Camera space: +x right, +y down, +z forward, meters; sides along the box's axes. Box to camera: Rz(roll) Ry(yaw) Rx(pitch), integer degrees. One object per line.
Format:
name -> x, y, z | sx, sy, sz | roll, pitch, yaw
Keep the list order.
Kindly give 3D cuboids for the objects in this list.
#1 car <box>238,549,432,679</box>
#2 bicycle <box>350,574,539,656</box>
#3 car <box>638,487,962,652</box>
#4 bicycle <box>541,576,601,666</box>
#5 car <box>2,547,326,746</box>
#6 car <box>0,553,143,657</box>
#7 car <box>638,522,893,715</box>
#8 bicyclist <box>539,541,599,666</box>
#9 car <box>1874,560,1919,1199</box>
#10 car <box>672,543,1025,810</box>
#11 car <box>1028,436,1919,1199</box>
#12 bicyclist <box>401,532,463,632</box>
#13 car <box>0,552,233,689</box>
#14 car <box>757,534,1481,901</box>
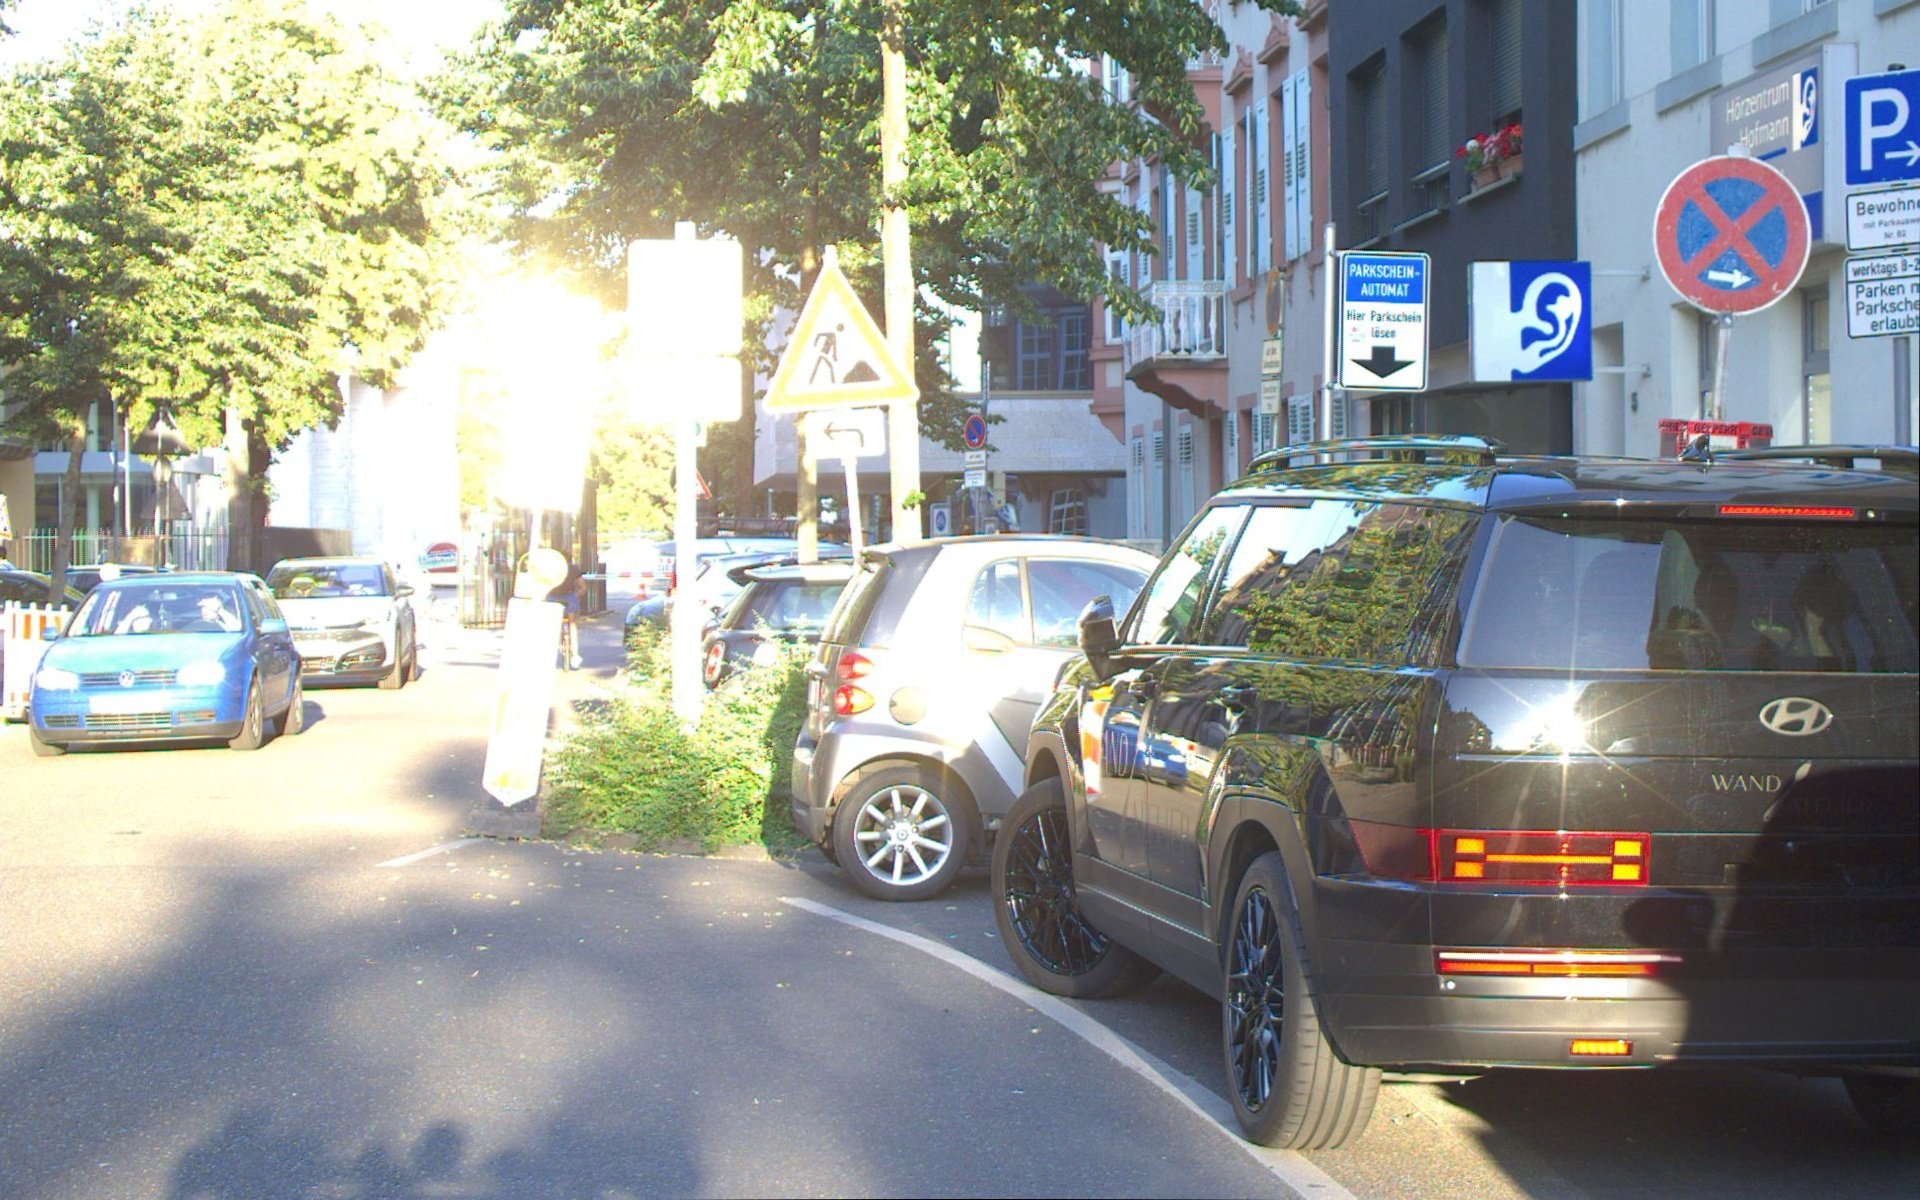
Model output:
car -> -7.569, 0.144, 41.978 | 1.884, 1.475, 4.460 | 1, 0, -5
bicycle -> -8.881, 0.252, 59.178 | 3.176, 1.346, 0.847 | -1, 1, -10
car -> -1.978, -0.397, 43.421 | 3.987, 2.007, 2.000 | -1, 1, 0
bicycle -> -5.420, 0.275, 47.817 | 0.780, 1.200, 2.021 | -1, 1, -7
car -> -6.373, 0.379, 27.962 | 1.838, 1.436, 4.332 | -2, -1, -4
car -> -14.098, 0.048, 49.840 | 4.102, 1.461, 1.890 | 1, 0, -3
car -> -2.178, 0.171, 37.143 | 2.264, 1.760, 4.510 | 5, 0, -8
bicyclist -> -5.440, 0.042, 47.811 | 0.780, 1.690, 1.007 | -1, 1, -7
car -> 2.606, 0.688, 4.916 | 1.587, 1.478, 3.267 | 1, 0, -3
car -> -0.883, 0.465, 23.871 | 1.993, 1.662, 4.510 | 1, 0, -7
car -> 1.430, 0.486, 9.575 | 1.824, 1.689, 4.370 | 1, 0, -7
bicyclist -> -9.078, -0.308, 59.099 | 1.004, 1.690, 0.783 | -1, 1, -9
car -> -10.269, 0.200, 38.022 | 4.102, 1.461, 1.890 | 1, 0, -3
car -> 0.652, 0.499, 15.245 | 2.968, 1.531, 1.434 | 1, 0, -8
